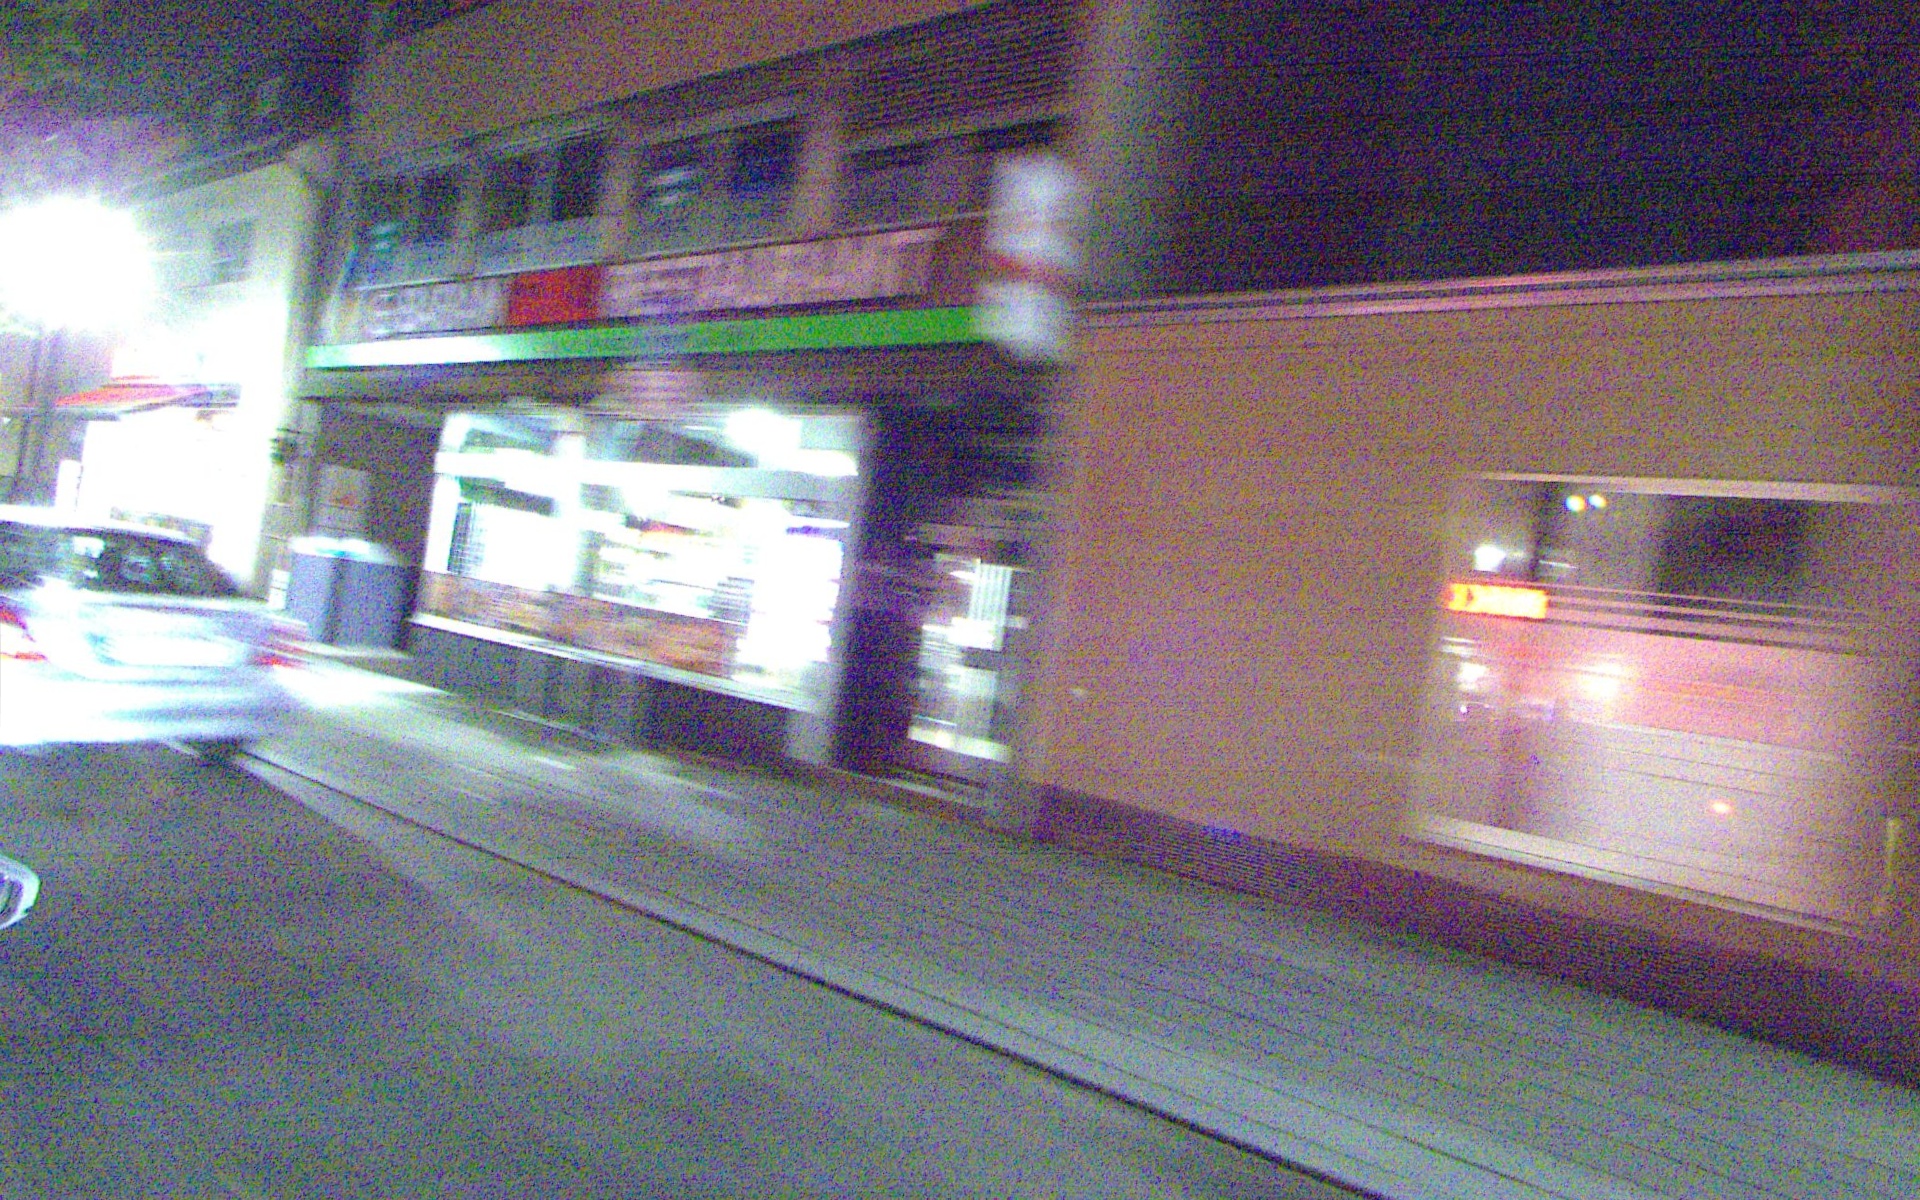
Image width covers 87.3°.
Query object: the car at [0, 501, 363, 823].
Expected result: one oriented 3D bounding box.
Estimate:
[{"bbox_3d":[-5.940,0.121,6.215,4.419,1.457,1.739,7,-1,28],"label":"car"}]
